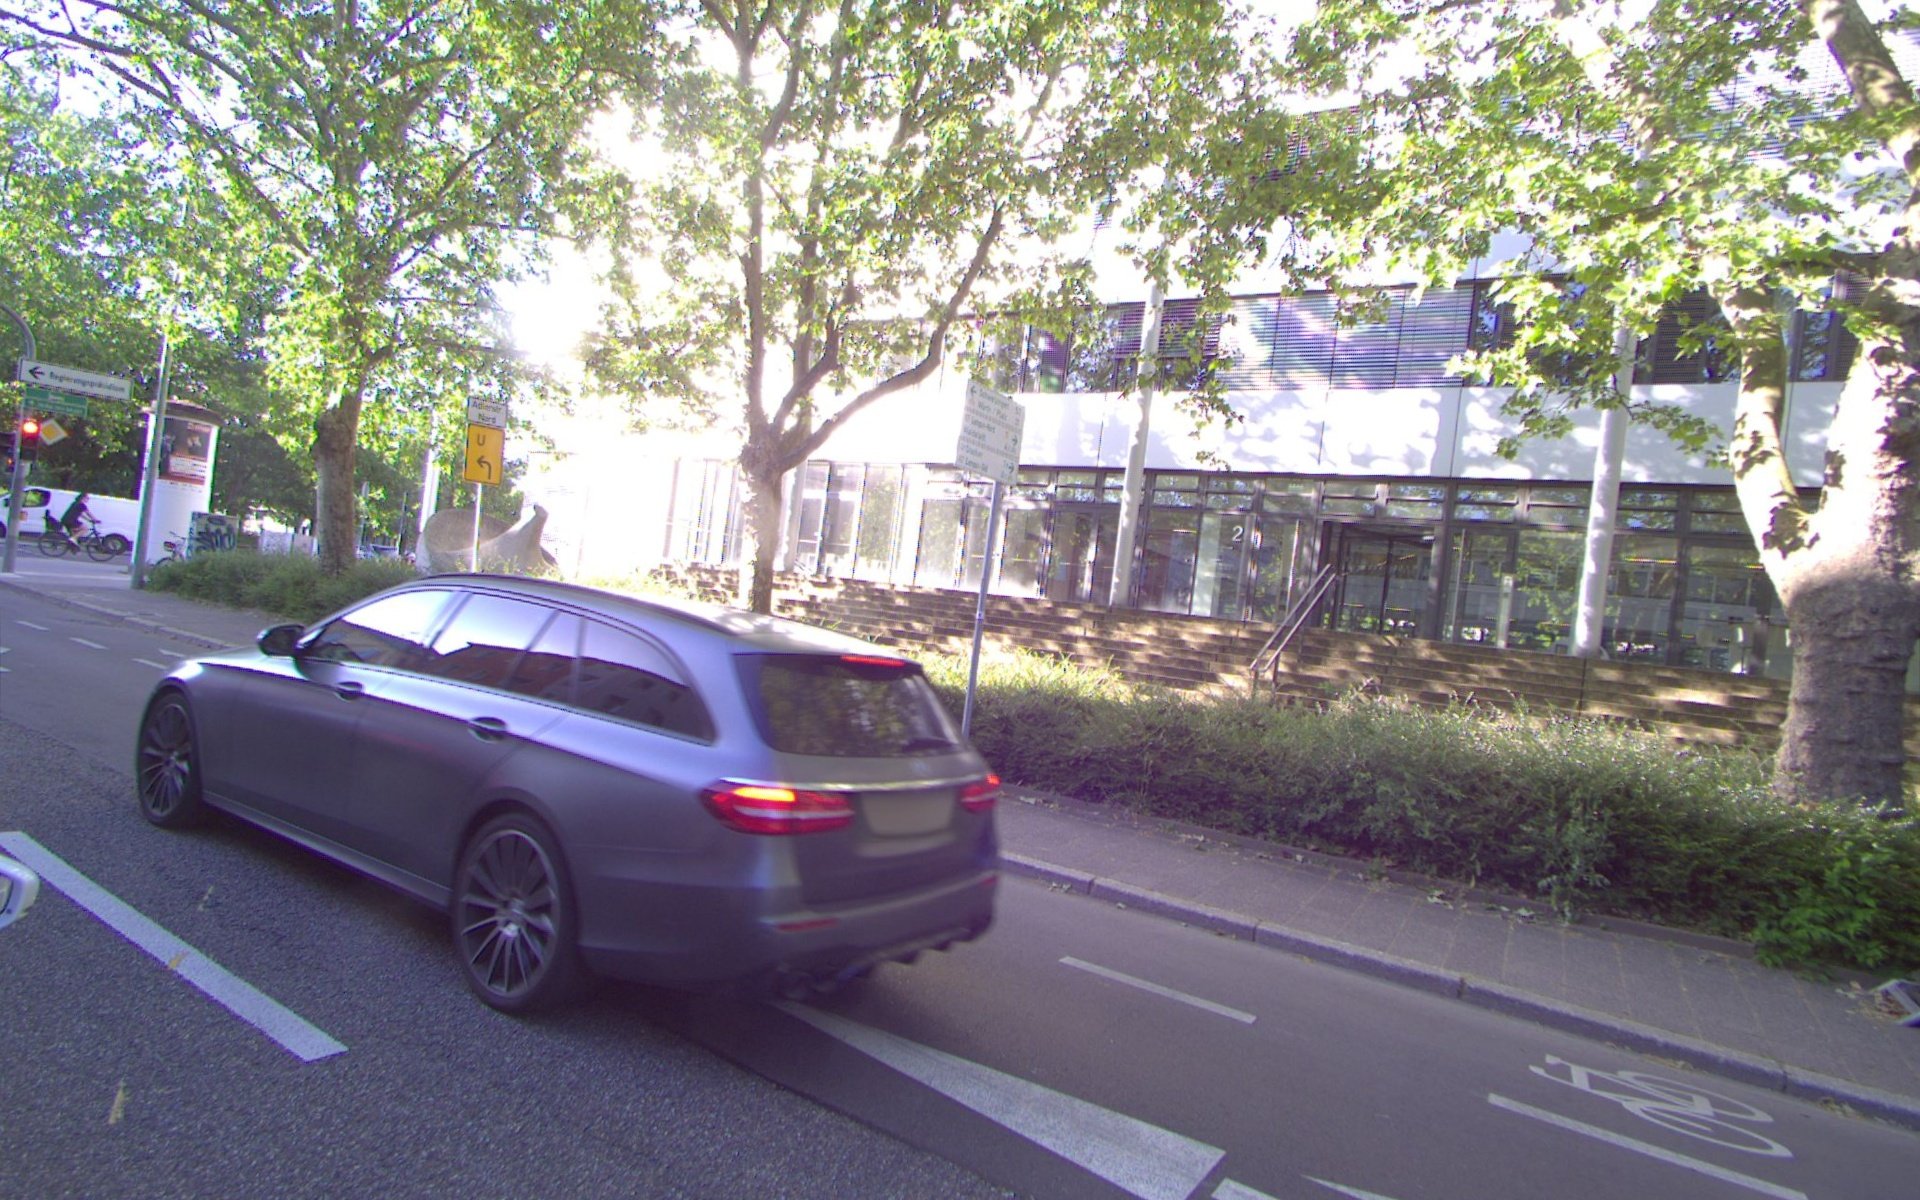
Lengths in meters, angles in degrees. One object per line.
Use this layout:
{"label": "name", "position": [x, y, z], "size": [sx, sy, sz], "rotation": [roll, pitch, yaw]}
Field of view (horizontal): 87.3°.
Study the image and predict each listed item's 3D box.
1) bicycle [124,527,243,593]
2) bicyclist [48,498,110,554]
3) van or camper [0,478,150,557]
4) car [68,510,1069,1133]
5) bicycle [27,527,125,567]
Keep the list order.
{"label": "bicycle", "position": [-16.058, -0.817, 20.844], "size": [0.502, 1.110, 1.806], "rotation": [7, -1, 34]}
{"label": "bicyclist", "position": [-25.386, -2.134, 28.989], "size": [0.647, 1.419, 1.104], "rotation": [7, -1, 34]}
{"label": "van or camper", "position": [-30.067, -2.782, 33.373], "size": [1.972, 1.964, 4.576], "rotation": [7, -2, 40]}
{"label": "car", "position": [-2.047, 0.611, 4.786], "size": [4.592, 1.480, 1.918], "rotation": [7, -3, 32]}
{"label": "bicycle", "position": [-25.447, -1.502, 29.000], "size": [0.666, 0.846, 1.976], "rotation": [7, -1, 34]}
